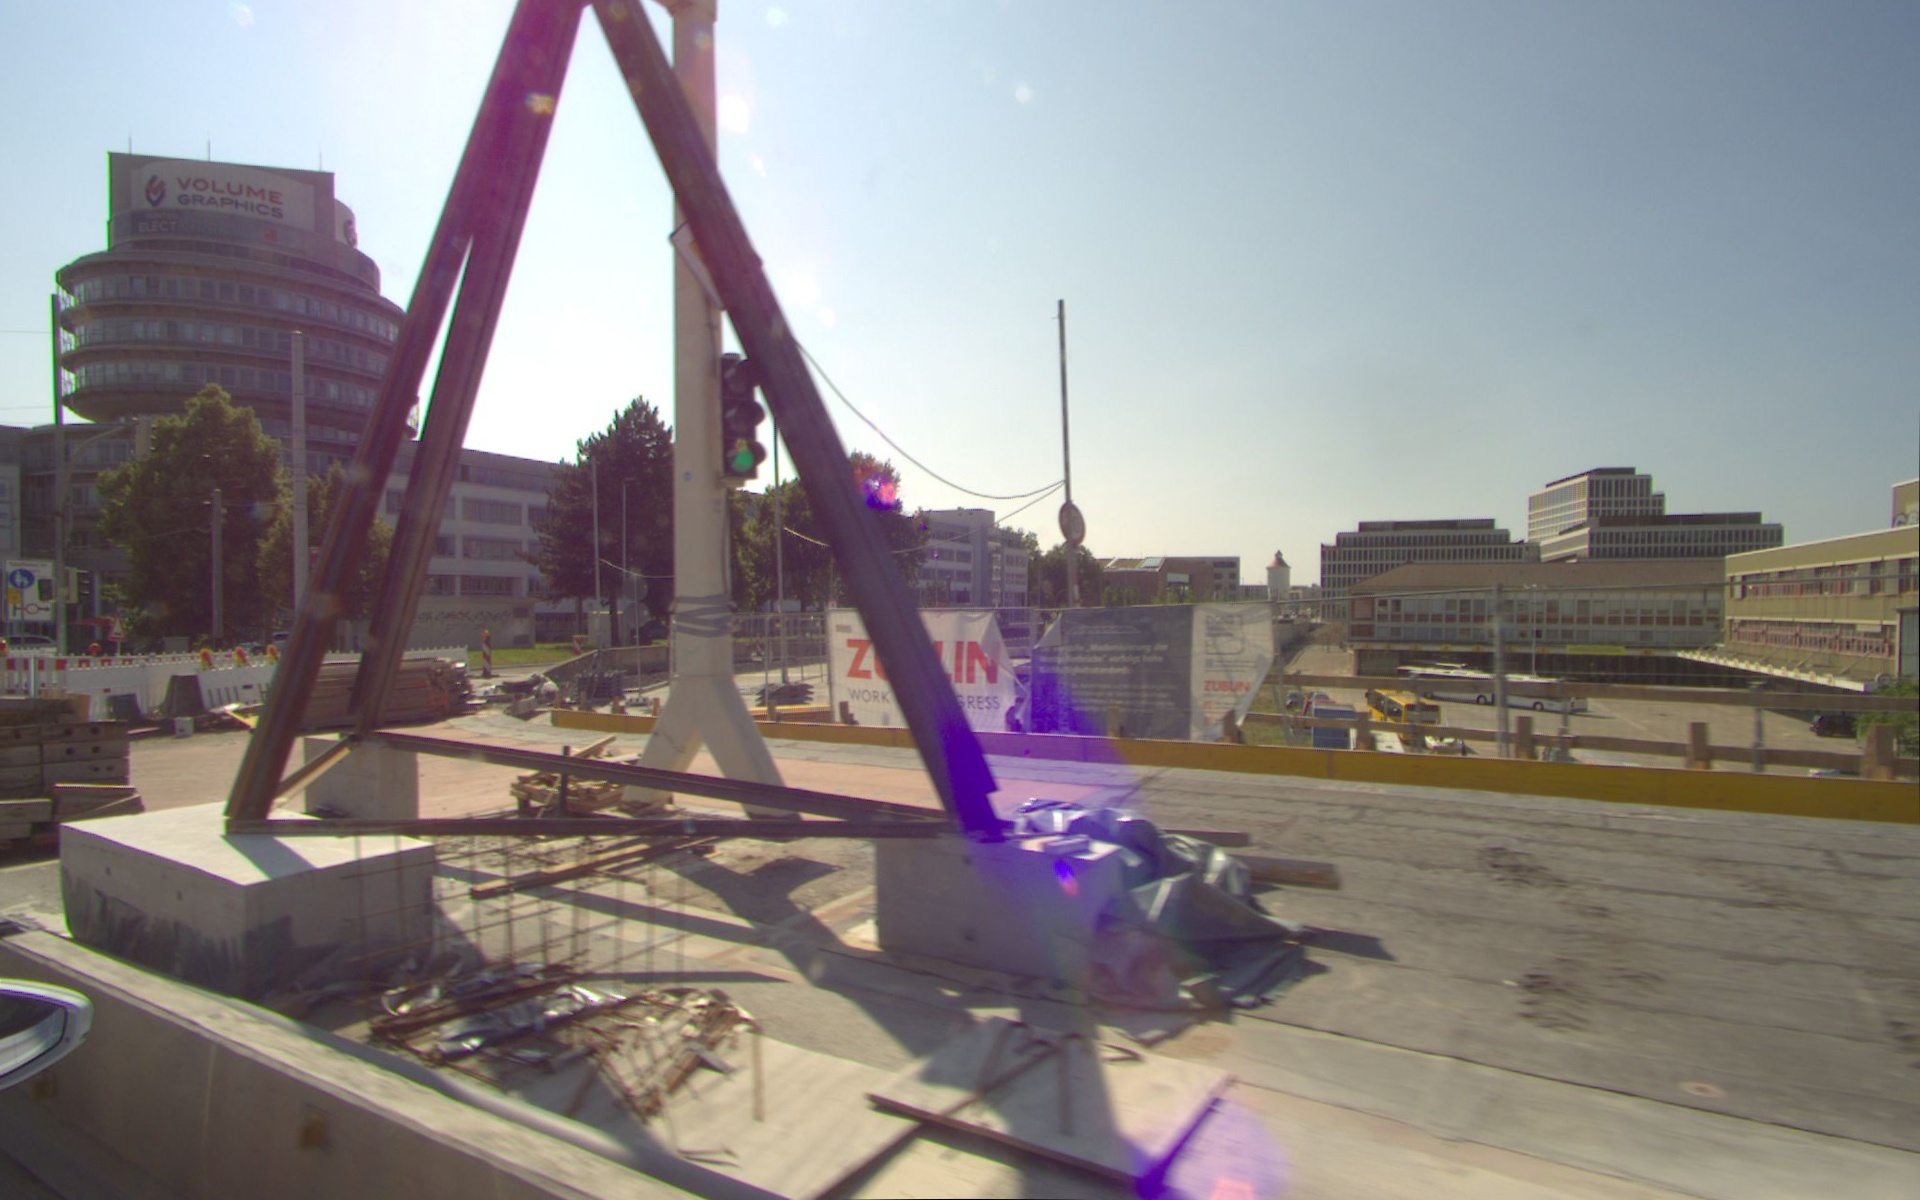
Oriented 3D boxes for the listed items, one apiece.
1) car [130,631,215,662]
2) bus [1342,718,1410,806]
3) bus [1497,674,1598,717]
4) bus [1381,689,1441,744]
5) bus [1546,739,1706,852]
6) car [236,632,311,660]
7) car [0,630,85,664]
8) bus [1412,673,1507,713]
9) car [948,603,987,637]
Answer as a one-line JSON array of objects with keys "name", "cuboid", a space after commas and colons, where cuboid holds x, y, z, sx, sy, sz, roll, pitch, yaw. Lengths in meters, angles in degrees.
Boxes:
[{"name": "car", "cuboid": [-48.875, 2.898, 62.246, 1.656, 1.821, 3.808, 1, -1, 31]}, {"name": "bus", "cuboid": [20.841, 7.919, 50.671, 2.569, 2.868, 11.820, 1, -1, 20]}, {"name": "bus", "cuboid": [57.033, 9.201, 97.438, 2.147, 3.881, 8.704, 4, -5, -27]}, {"name": "bus", "cuboid": [33.149, 8.455, 74.027, 3.177, 3.027, 10.998, 1, -1, 20]}, {"name": "bus", "cuboid": [27.264, 7.830, 41.651, 2.567, 2.868, 10.607, 1, -1, 17]}, {"name": "car", "cuboid": [-46.113, 3.060, 67.312, 1.656, 1.821, 3.808, 1, -1, 31]}, {"name": "car", "cuboid": [-52.050, 2.611, 56.398, 1.656, 1.821, 3.808, 1, -1, 31]}, {"name": "bus", "cuboid": [52.344, 9.677, 105.198, 2.100, 3.881, 9.138, 4, -5, -35]}, {"name": "car", "cuboid": [0.749, 1.851, 90.303, 2.302, 2.924, 5.968, 1, -1, 13]}]
